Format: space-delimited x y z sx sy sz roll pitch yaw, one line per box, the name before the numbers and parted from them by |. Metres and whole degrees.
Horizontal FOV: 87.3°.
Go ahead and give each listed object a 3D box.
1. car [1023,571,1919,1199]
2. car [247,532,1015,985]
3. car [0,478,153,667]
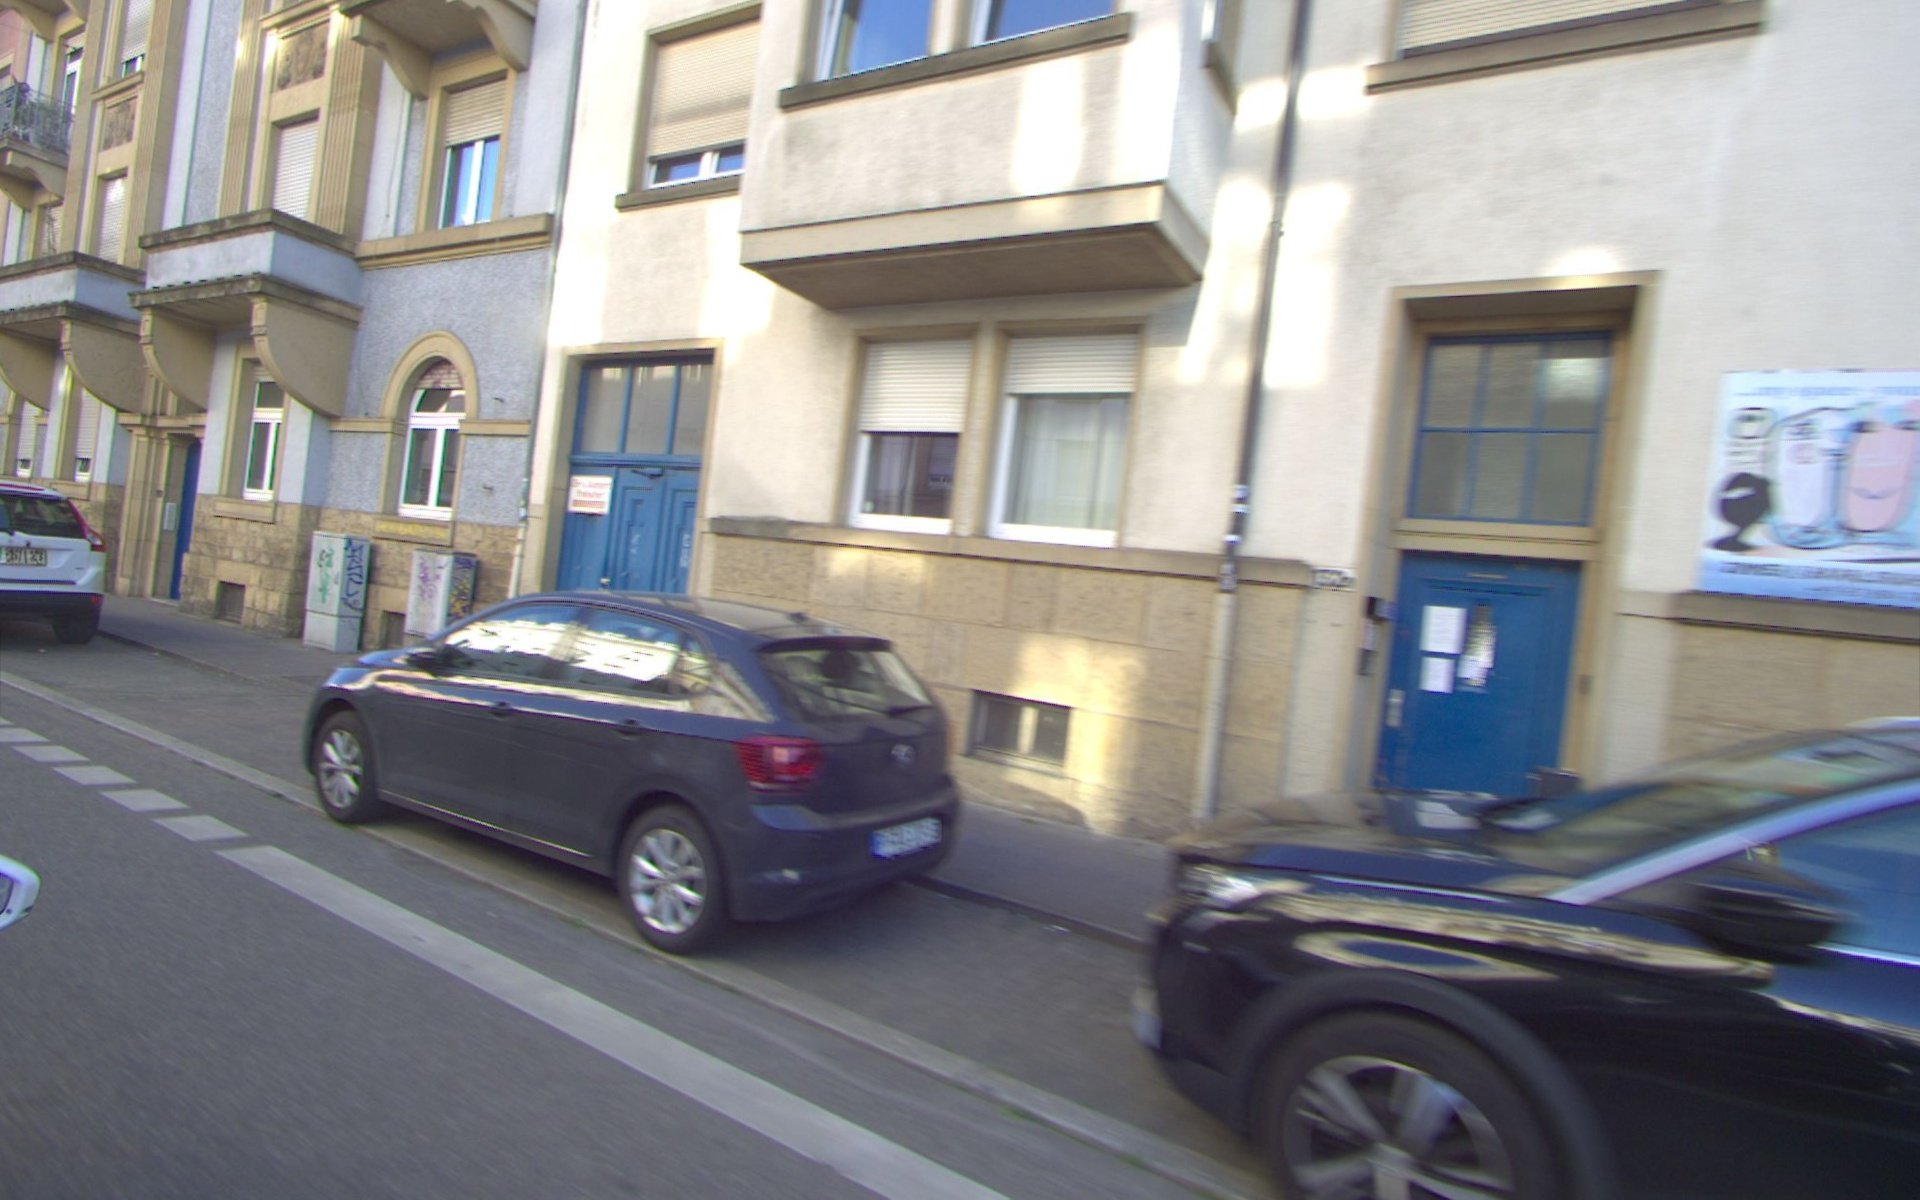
car | 2.650 1.047 2.586 4.487 1.685 1.861 7 -1 33
car | -1.920 0.602 5.557 3.965 1.459 1.740 7 -1 31
car | -10.650 -0.469 10.619 4.430 1.711 1.846 7 -1 32
